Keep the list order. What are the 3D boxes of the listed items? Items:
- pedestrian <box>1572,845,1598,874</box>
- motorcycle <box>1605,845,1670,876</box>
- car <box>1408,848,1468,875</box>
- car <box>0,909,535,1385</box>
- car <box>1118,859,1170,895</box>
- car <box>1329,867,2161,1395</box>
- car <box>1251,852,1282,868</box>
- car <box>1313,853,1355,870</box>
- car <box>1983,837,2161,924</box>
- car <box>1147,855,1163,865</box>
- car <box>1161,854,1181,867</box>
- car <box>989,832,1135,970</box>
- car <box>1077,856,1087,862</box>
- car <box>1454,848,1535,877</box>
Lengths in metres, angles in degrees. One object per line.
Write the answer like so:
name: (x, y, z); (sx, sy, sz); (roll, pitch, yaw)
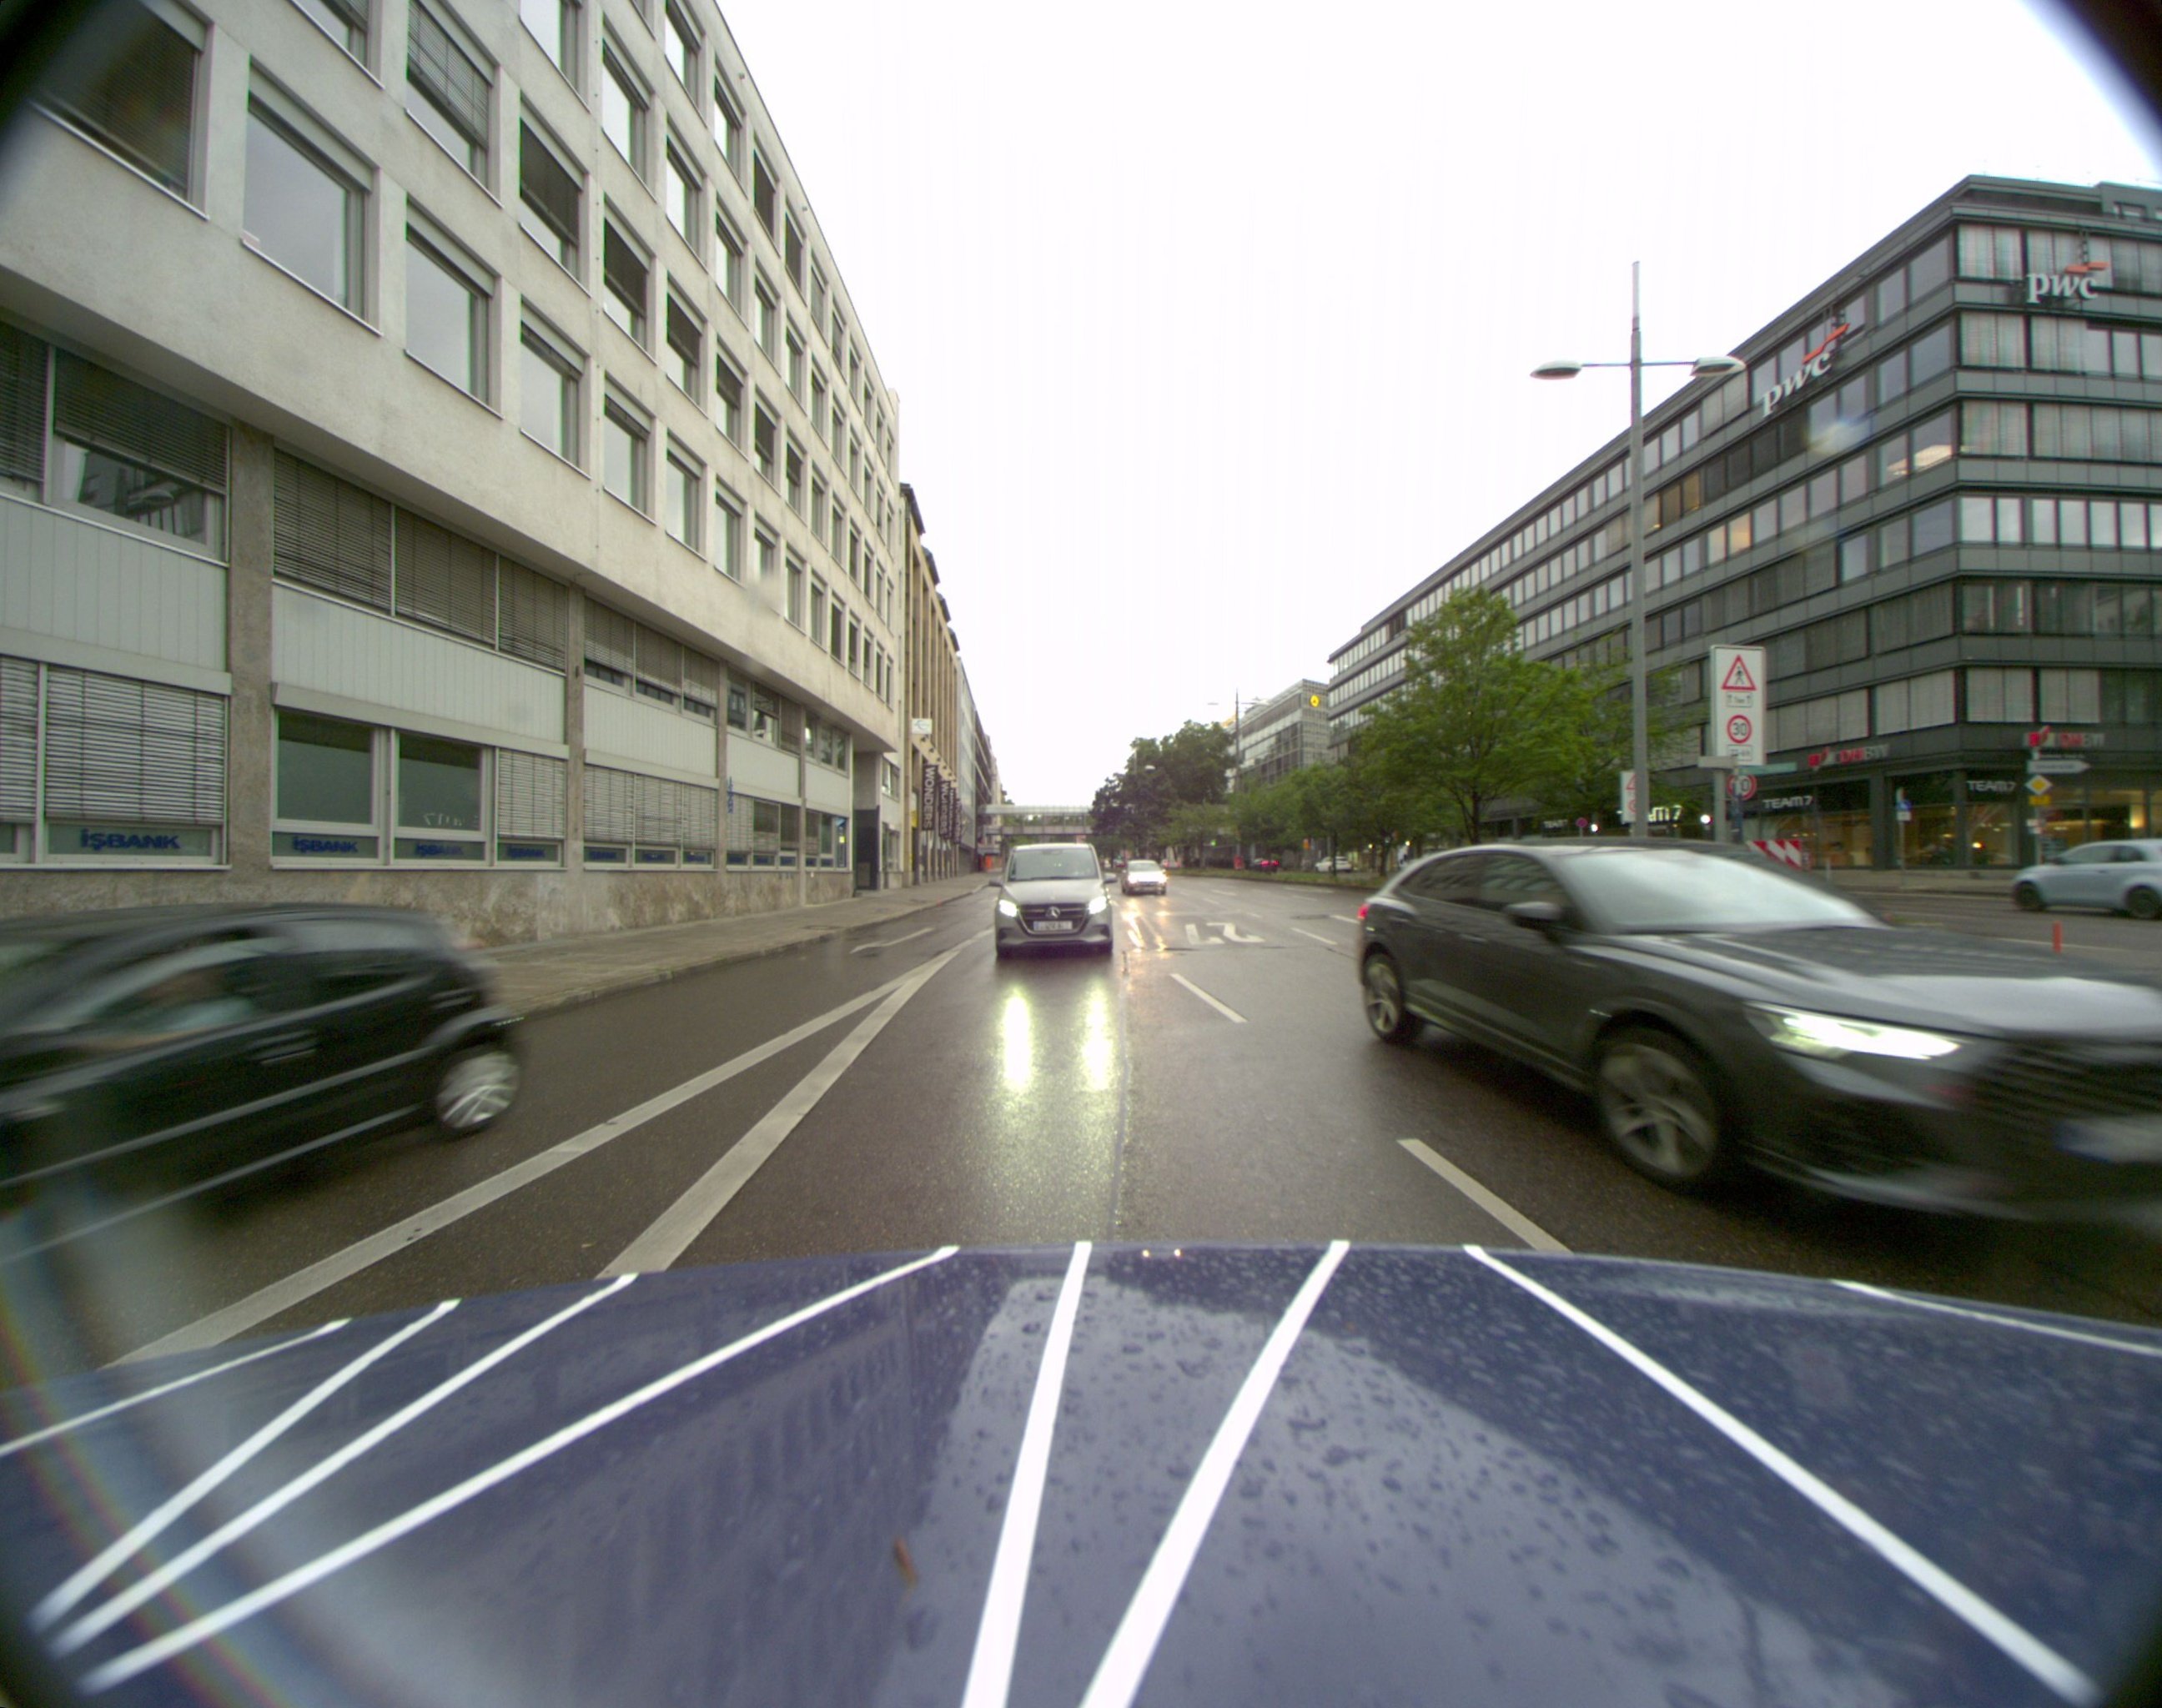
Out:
pedestrian: (29.352, 0.314, 44.266); (0.786, 1.628, 0.965); (-1, 0, -4)
motorcycle: (26.976, 0.316, 36.852); (0.861, 1.386, 2.364); (-5, 2, -30)
car: (23.681, 0.462, 50.532); (1.813, 1.651, 4.309); (-2, 0, -2)
car: (-4.479, 1.097, 3.166); (1.666, 1.464, 3.485); (-1, 0, 5)
car: (2.691, 0.954, 33.384); (1.853, 1.434, 3.869); (-1, 0, -2)
car: (3.184, 0.837, 4.368); (1.941, 1.426, 4.287); (-1, 0, -2)
car: (18.202, 0.607, 74.861); (1.998, 1.535, 4.483); (-1, 0, 1)
car: (22.295, 0.664, 67.014); (1.814, 1.436, 4.307); (-2, 0, -7)
car: (20.730, 0.459, 15.094); (1.786, 1.564, 3.695); (-1, 0, 14)
car: (11.107, 0.952, 114.210); (1.687, 1.423, 4.081); (-1, 0, -5)
car: (12.343, 0.905, 104.126); (1.742, 1.717, 4.491); (-1, 0, -6)
car: (-0.435, 0.710, 13.959); (2.163, 2.014, 5.040); (-1, 0, -4)
car: (0.250, 1.215, 182.098); (1.733, 1.303, 4.074); (-2, 0, -7)
car: (24.019, 0.466, 44.398); (1.814, 1.476, 4.771); (-4, 0, -4)
